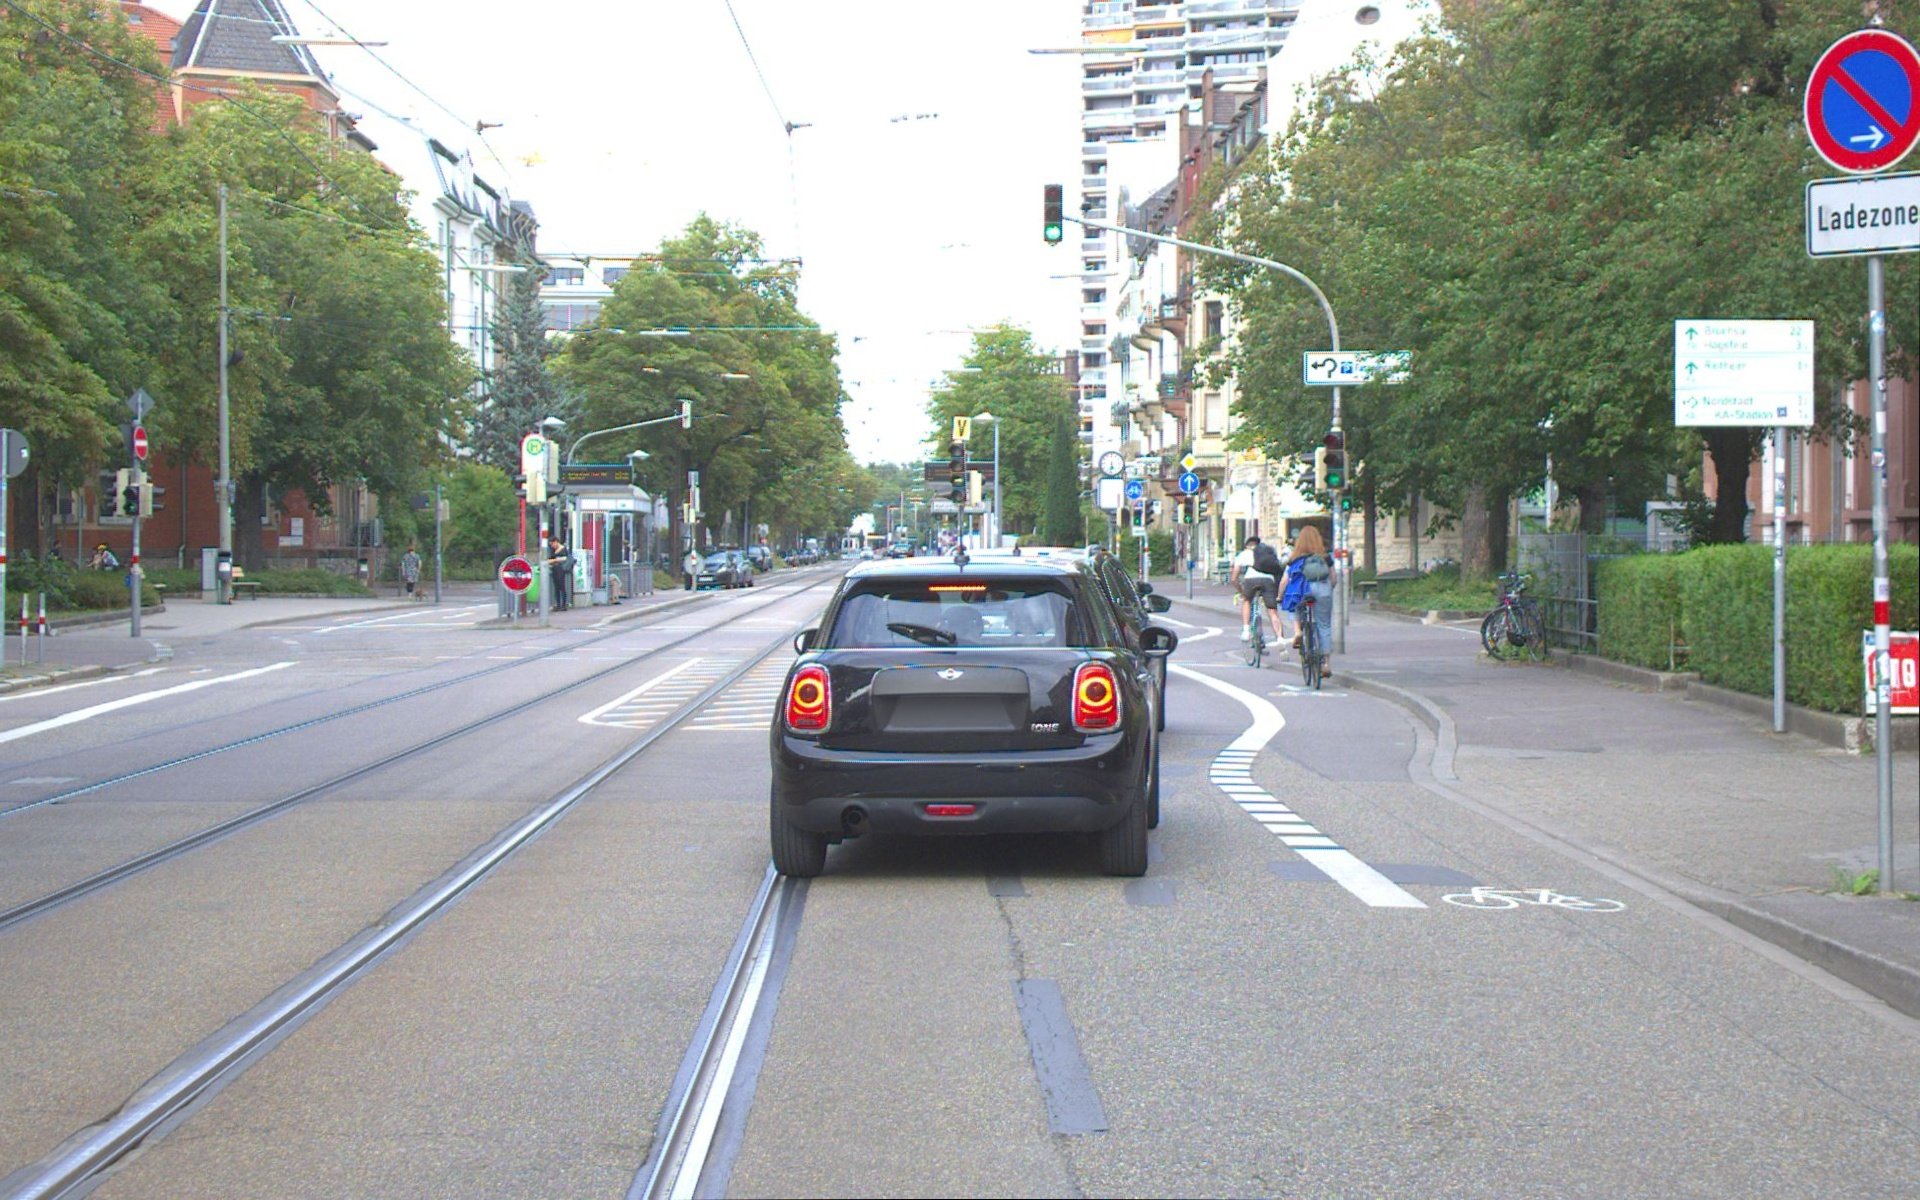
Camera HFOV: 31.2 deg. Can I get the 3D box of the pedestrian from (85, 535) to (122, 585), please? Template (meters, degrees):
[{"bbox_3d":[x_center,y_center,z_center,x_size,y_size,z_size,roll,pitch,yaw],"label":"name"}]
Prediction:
[{"bbox_3d":[-25.572,-1.199,102.649,0.833,1.459,0.732,-1,1,-41],"label":"pedestrian"}]

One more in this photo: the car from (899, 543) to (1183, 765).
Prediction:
[{"bbox_3d":[0.612,0.337,25.309,1.927,1.504,4.000,0,1,2],"label":"car"}]

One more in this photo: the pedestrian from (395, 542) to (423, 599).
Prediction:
[{"bbox_3d":[-16.527,-0.895,103.183,0.694,1.713,0.758,0,1,1],"label":"pedestrian"}]

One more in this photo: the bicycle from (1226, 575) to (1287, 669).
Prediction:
[{"bbox_3d":[3.835,0.276,44.606,0.684,1.166,1.696,0,1,2],"label":"bicycle"}]

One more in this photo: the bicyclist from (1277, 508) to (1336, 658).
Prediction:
[{"bbox_3d":[3.615,-0.181,35.910,0.594,1.545,1.013,0,1,5],"label":"bicyclist"}]

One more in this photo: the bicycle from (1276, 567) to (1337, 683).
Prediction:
[{"bbox_3d":[3.610,0.250,35.880,0.598,1.166,1.696,0,1,5],"label":"bicycle"}]

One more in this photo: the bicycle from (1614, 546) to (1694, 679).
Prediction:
[{"bbox_3d":[6.810,0.109,33.783,0.516,1.277,1.550,0,1,2],"label":"bicycle"}]

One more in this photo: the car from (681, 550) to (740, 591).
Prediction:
[{"bbox_3d":[-9.240,-1.115,127.556,1.752,1.436,4.000,2,1,1],"label":"car"}]

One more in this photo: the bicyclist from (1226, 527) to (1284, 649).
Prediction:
[{"bbox_3d":[3.831,-0.161,44.649,0.684,1.558,0.998,0,1,2],"label":"bicyclist"}]

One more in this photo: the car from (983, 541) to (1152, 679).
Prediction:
[{"bbox_3d":[1.189,0.069,37.846,1.752,1.436,4.479,0,1,2],"label":"car"}]

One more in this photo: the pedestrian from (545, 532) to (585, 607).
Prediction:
[{"bbox_3d":[-8.565,-0.658,74.617,0.851,1.615,0.843,0,1,-6],"label":"pedestrian"}]

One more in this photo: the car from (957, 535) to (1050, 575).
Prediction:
[{"bbox_3d":[2.486,-2.602,197.447,5.025,2.265,2.396,-1,1,-41],"label":"car"}]

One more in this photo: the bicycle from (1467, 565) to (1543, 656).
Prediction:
[{"bbox_3d":[6.783,0.121,42.834,0.671,1.102,1.672,0,1,0],"label":"bicycle"}]

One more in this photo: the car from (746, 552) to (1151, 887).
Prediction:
[{"bbox_3d":[0.054,0.486,16.847,1.752,1.436,4.000,0,1,3],"label":"car"}]

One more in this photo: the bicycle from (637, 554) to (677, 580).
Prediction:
[{"bbox_3d":[-12.836,-1.406,145.672,1.667,1.115,0.573,-1,1,-40],"label":"bicycle"}]

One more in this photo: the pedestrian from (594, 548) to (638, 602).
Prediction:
[{"bbox_3d":[-8.263,-0.612,82.622,1.058,1.289,0.986,0,1,-6],"label":"pedestrian"}]

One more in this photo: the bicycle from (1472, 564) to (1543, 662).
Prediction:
[{"bbox_3d":[6.379,0.138,40.112,0.508,1.085,1.550,-3,1,0],"label":"bicycle"}]
